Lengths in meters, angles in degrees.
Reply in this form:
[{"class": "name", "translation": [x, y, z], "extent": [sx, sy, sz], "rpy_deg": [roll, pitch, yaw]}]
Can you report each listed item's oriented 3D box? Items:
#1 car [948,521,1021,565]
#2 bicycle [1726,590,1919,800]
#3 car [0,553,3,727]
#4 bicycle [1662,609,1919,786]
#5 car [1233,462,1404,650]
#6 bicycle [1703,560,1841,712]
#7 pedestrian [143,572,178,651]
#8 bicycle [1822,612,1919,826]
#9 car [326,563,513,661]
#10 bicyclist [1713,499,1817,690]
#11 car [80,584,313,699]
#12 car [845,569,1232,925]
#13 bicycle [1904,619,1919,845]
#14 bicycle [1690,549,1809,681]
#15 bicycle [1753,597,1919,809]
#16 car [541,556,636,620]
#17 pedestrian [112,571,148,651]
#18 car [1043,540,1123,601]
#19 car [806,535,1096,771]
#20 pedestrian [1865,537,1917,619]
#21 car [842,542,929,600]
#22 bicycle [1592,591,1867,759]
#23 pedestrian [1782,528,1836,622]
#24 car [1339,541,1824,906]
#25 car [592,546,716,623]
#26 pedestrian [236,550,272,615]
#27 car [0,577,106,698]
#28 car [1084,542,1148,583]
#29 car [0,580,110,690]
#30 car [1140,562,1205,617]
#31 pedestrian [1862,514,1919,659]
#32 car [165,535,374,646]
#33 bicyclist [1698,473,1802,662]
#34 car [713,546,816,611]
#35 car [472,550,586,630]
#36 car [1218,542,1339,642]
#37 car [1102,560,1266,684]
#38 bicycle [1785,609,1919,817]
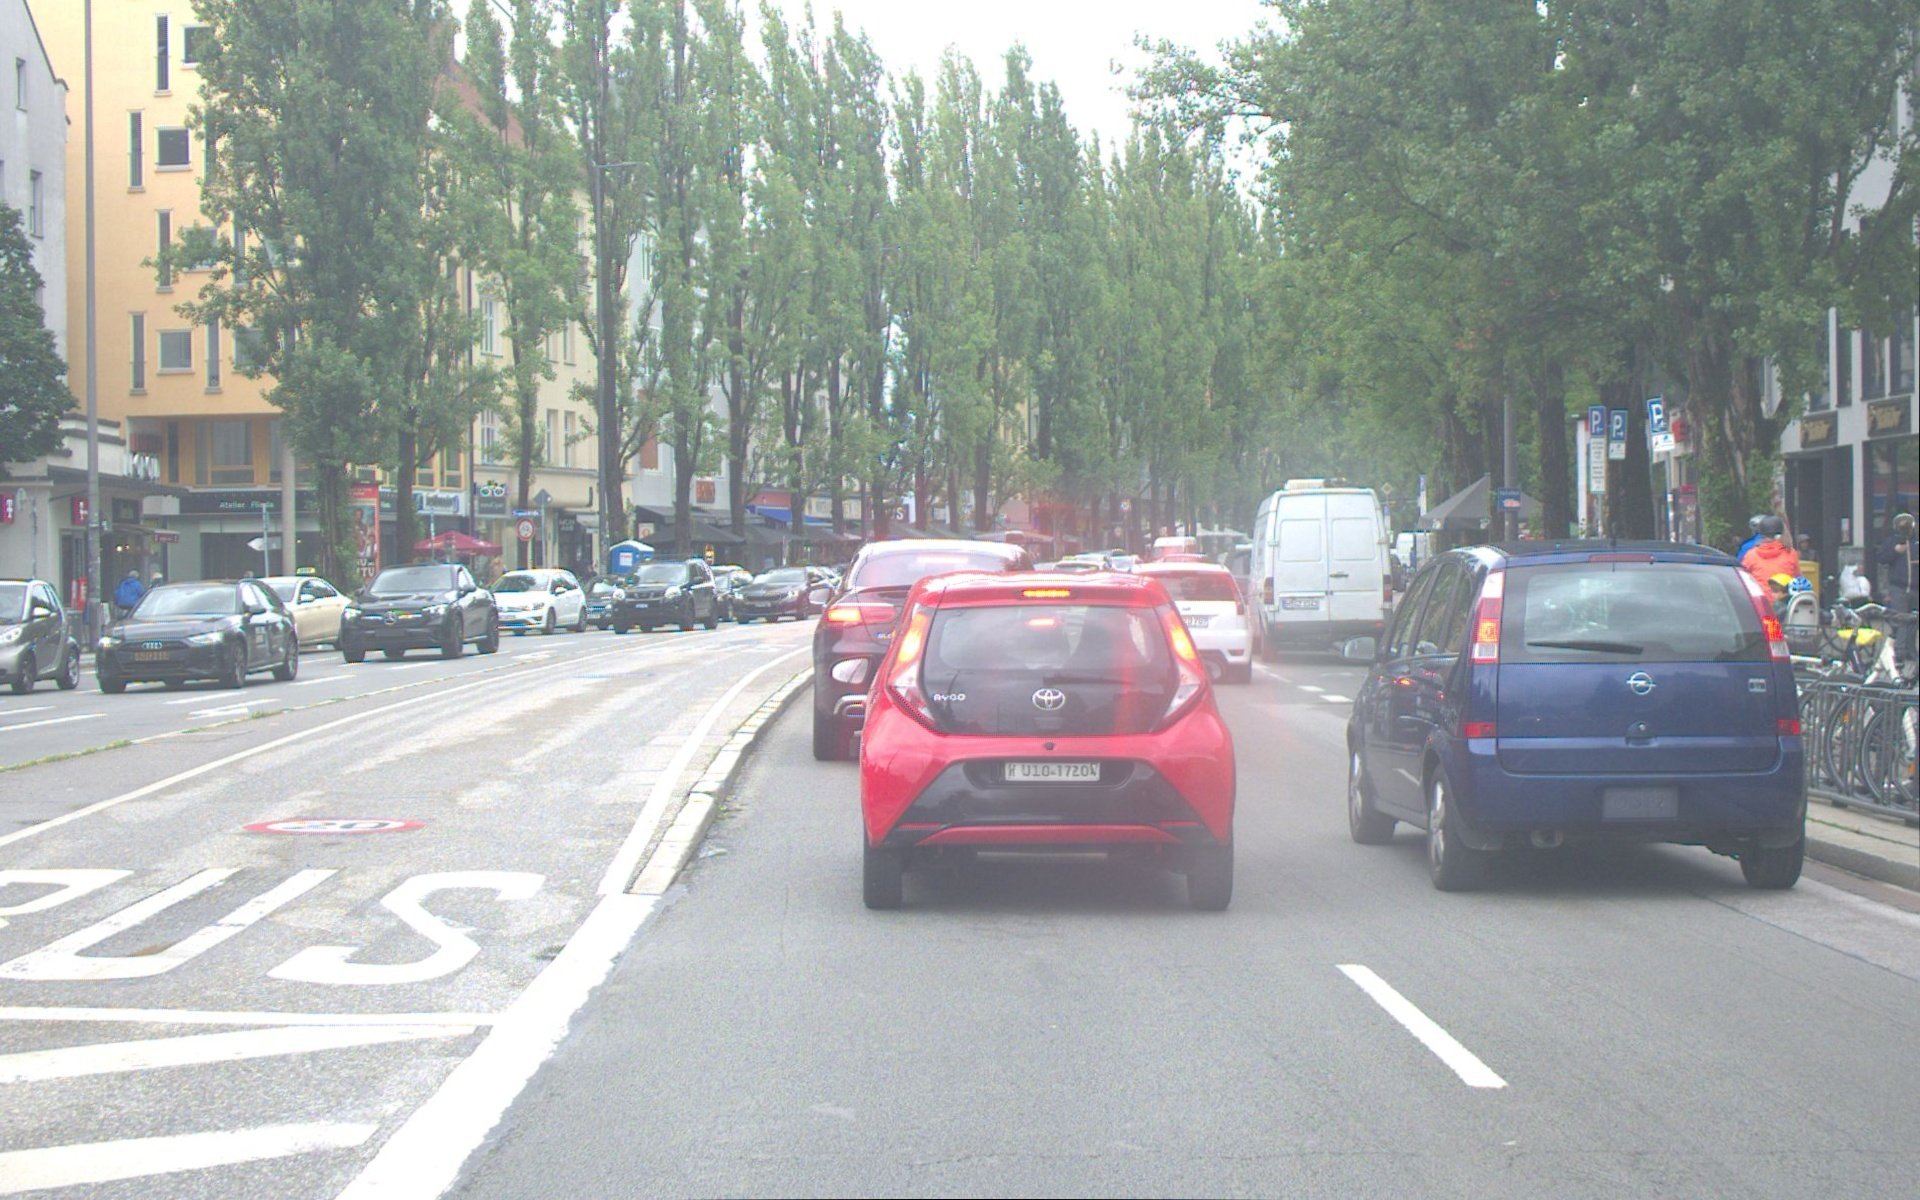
[{"class": "car", "translation": [0.997, -2.283, 136.620], "extent": [1.994, 1.686, 4.411], "rpy_deg": [-1, 1, 12]}, {"class": "bicycle", "translation": [5.465, 0.545, 20.161], "extent": [1.836, 1.193, 0.585], "rpy_deg": [0, 1, 42]}, {"class": "car", "translation": [-10.548, 0.446, 32.028], "extent": [1.936, 1.733, 4.588], "rpy_deg": [-1, 1, 0]}, {"class": "bicycle", "translation": [5.366, 0.593, 21.570], "extent": [1.836, 1.048, 0.585], "rpy_deg": [0, 1, 42]}, {"class": "car", "translation": [5.426, -0.673, 52.592], "extent": [2.107, 2.709, 4.804], "rpy_deg": [-1, 1, 0]}, {"class": "bicycle", "translation": [7.175, 0.293, 30.491], "extent": [0.614, 1.260, 2.520], "rpy_deg": [-1, 1, 0]}, {"class": "pedestrian", "translation": [-20.204, 0.287, 86.897], "extent": [0.687, 1.990, 0.765], "rpy_deg": [-1, 1, 0]}, {"class": "bicycle", "translation": [5.493, 0.627, 18.051], "extent": [1.803, 1.107, 0.585], "rpy_deg": [0, 1, 42]}, {"class": "car", "translation": [-8.944, 0.168, 57.272], "extent": [1.994, 1.529, 4.587], "rpy_deg": [-1, 1, 5]}, {"class": "bicyclist", "translation": [7.159, -0.060, 30.622], "extent": [0.614, 1.652, 1.251], "rpy_deg": [-1, 1, 0]}, {"class": "car", "translation": [-10.036, 0.511, 45.528], "extent": [1.845, 1.378, 4.600], "rpy_deg": [-1, 1, 3]}, {"class": "car", "translation": [0.338, 0.601, 15.952], "extent": [1.605, 1.456, 3.130], "rpy_deg": [1, 1, 0]}, {"class": "bicycle", "translation": [5.535, 0.650, 16.624], "extent": [1.803, 1.107, 0.561], "rpy_deg": [0, 1, 41]}, {"class": "bicycle", "translation": [7.983, 0.128, 34.859], "extent": [0.614, 1.260, 2.520], "rpy_deg": [-1, 1, 0]}, {"class": "bicycle", "translation": [5.444, 0.574, 19.380], "extent": [1.836, 1.164, 0.585], "rpy_deg": [0, 1, 42]}, {"class": "car", "translation": [-9.416, -0.317, 87.315], "extent": [1.746, 1.565, 3.491], "rpy_deg": [-1, 1, 5]}, {"class": "pedestrian", "translation": [-20.966, 0.270, 86.845], "extent": [0.687, 1.990, 0.765], "rpy_deg": [-1, 1, -1]}, {"class": "car", "translation": [3.098, -0.747, 85.877], "extent": [1.773, 1.434, 3.938], "rpy_deg": [-1, 1, 5]}, {"class": "car", "translation": [-0.094, 0.338, 25.997], "extent": [1.993, 1.612, 4.000], "rpy_deg": [-1, 1, -1]}, {"class": "pedestrian", "translation": [14.963, -0.362, 55.272], "extent": [0.638, 1.301, 0.676], "rpy_deg": [-1, 1, 0]}, {"class": "car", "translation": [-2.241, -0.902, 105.245], "extent": [1.994, 1.686, 4.920], "rpy_deg": [-1, 1, 6]}, {"class": "bicycle", "translation": [5.426, 0.509, 24.301], "extent": [1.836, 1.132, 0.585], "rpy_deg": [0, 1, 42]}, {"class": "pedestrian", "translation": [14.168, -0.416, 57.390], "extent": [0.713, 1.553, 0.676], "rpy_deg": [-1, 1, 0]}, {"class": "car", "translation": [2.917, 0.513, 16.833], "extent": [1.703, 1.584, 3.556], "rpy_deg": [1, 1, 0]}, {"class": "car", "translation": [-7.020, -0.385, 79.417], "extent": [1.994, 1.686, 4.920], "rpy_deg": [1, 1, 5]}, {"class": "pedestrian", "translation": [-19.759, -0.488, 96.222], "extent": [0.688, 1.804, 0.765], "rpy_deg": [-1, 1, 11]}, {"class": "car", "translation": [-12.937, 0.483, 46.676], "extent": [1.624, 1.546, 3.384], "rpy_deg": [-1, 1, 4]}, {"class": "car", "translation": [6.676, -1.612, 146.677], "extent": [1.994, 1.686, 4.411], "rpy_deg": [-1, 1, 12]}, {"class": "car", "translation": [-15.298, 0.536, 55.014], "extent": [1.994, 1.649, 4.532], "rpy_deg": [-1, 1, 4]}, {"class": "car", "translation": [7.498, -0.387, 121.091], "extent": [1.994, 1.831, 3.999], "rpy_deg": [-1, 1, 8]}, {"class": "pedestrian", "translation": [11.369, -0.176, 41.385], "extent": [0.790, 1.722, 0.764], "rpy_deg": [-1, 1, 0]}, {"class": "car", "translation": [-12.858, -0.206, 64.320], "extent": [1.995, 1.809, 4.531], "rpy_deg": [-3, 2, 14]}, {"class": "bicyclist", "translation": [7.981, -0.335, 34.762], "extent": [0.762, 1.863, 1.133], "rpy_deg": [-1, 1, 0]}, {"class": "car", "translation": [-5.292, -0.605, 93.747], "extent": [1.994, 1.686, 4.920], "rpy_deg": [-1, 1, 6]}, {"class": "car", "translation": [-10.215, -0.258, 81.743], "extent": [1.857, 1.809, 3.999], "rpy_deg": [1, 1, 5]}, {"class": "car", "translation": [5.403, -0.161, 58.681], "extent": [1.703, 1.657, 3.556], "rpy_deg": [0, 1, 0]}, {"class": "car", "translation": [2.713, 0.238, 42.278], "extent": [1.699, 1.421, 3.497], "rpy_deg": [-1, 1, -1]}, {"class": "bicycle", "translation": [5.431, 0.615, 18.717], "extent": [1.803, 1.107, 0.490], "rpy_deg": [0, 1, 42]}]
